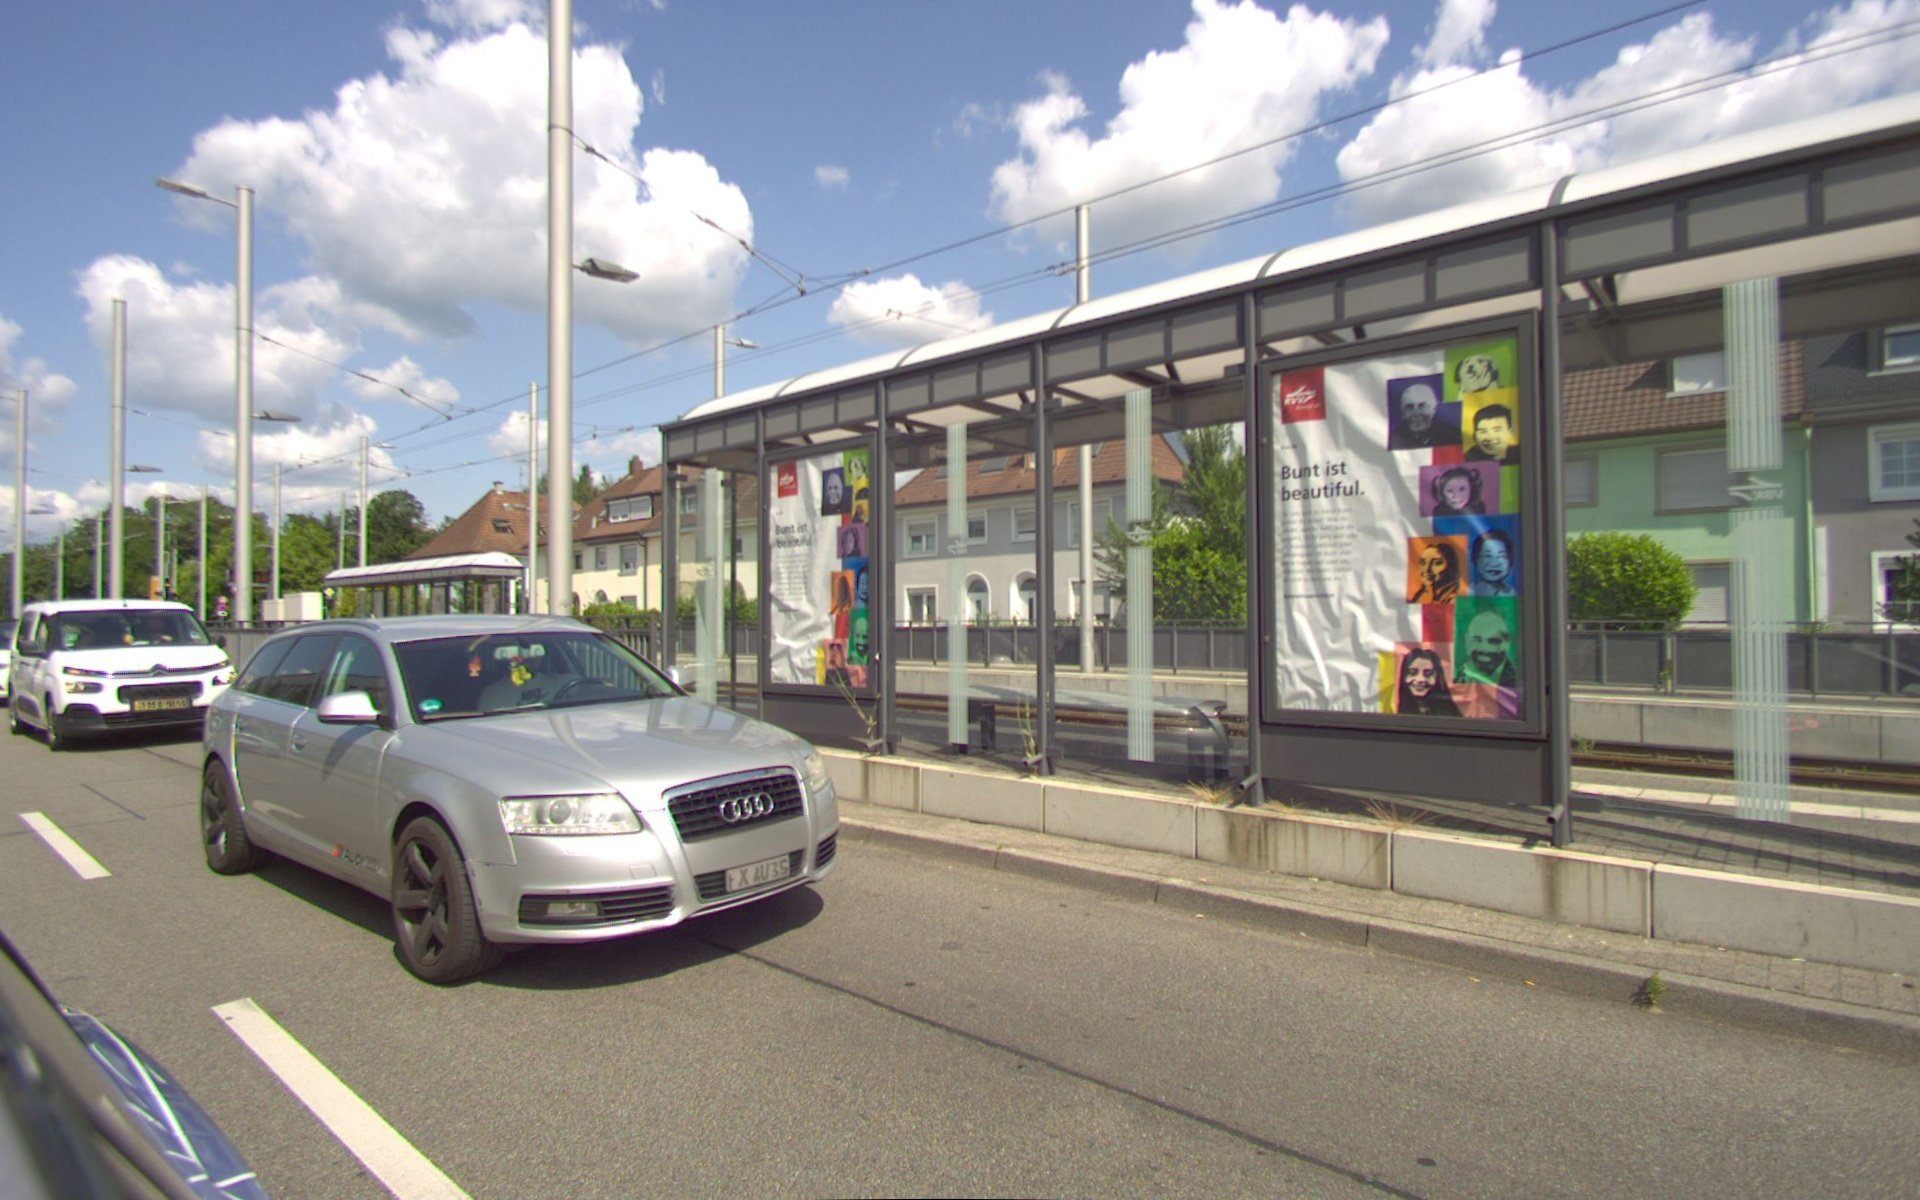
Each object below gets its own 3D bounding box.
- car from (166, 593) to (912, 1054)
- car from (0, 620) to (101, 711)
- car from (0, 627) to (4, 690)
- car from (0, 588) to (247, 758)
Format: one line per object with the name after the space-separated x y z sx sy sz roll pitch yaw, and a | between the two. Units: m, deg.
-2.596 0.749 5.493 4.718 1.483 1.776 -1 0 40 | car
-17.437 1.170 18.779 3.389 1.515 1.659 -2 0 39 | car
-23.806 1.363 23.657 3.554 1.433 1.659 -1 0 39 | car
-10.890 0.811 13.033 4.327 1.829 1.776 -1 0 41 | car
